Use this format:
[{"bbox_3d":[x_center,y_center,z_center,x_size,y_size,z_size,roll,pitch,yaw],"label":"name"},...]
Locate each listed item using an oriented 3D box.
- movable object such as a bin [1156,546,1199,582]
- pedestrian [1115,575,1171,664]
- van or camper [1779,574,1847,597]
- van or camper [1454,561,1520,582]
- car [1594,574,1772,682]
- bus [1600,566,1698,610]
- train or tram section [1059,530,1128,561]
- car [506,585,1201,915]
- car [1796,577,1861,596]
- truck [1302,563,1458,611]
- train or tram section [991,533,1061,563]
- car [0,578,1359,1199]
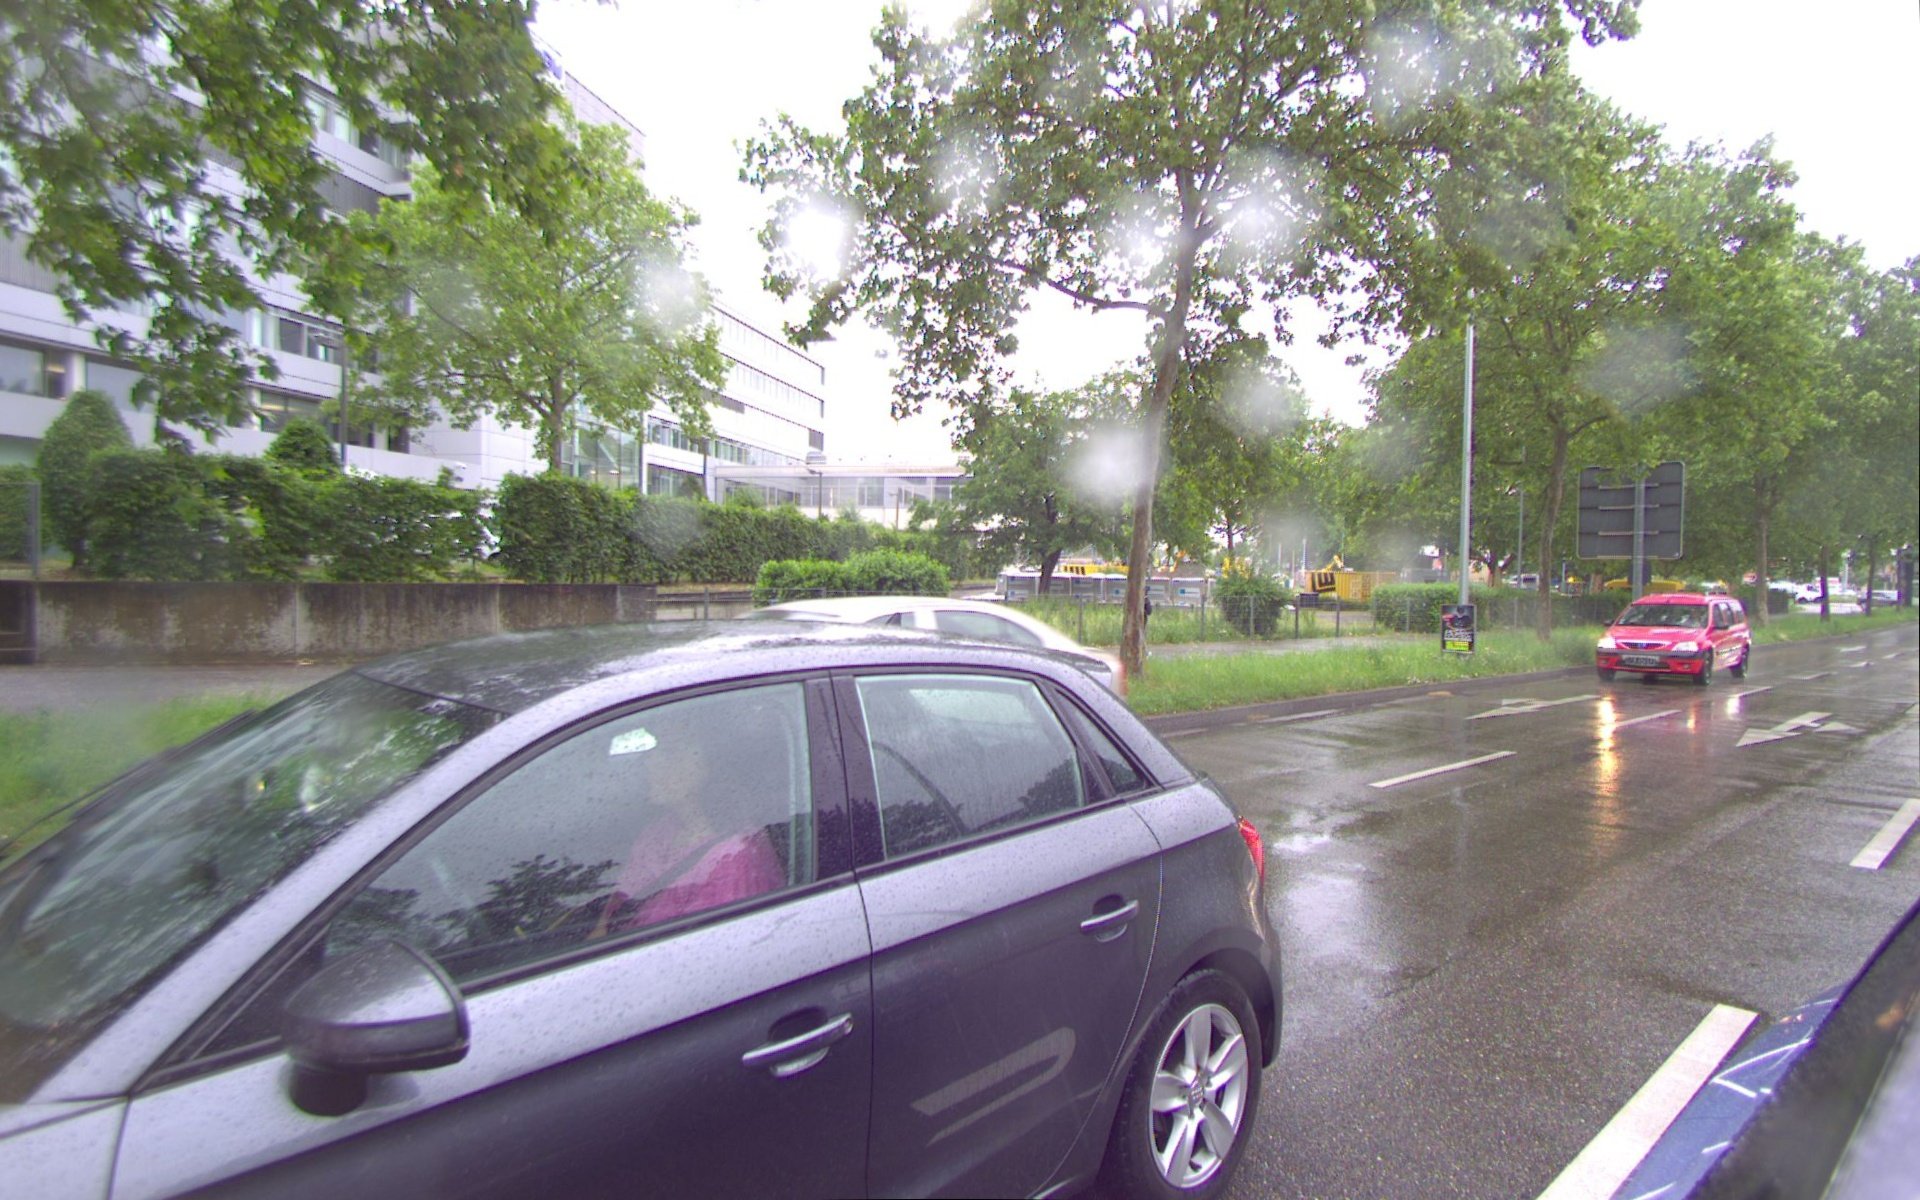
[{"bbox_3d":[22.405,-3.715,104.410,3.253,3.670,3.618,0,2,-6],"label":"movable object such as a bin"},{"bbox_3d":[3.806,0.380,21.032,0.664,1.784,1.059,1,1,43],"label":"pedestrian"},{"bbox_3d":[86.788,-1.488,103.023,4.830,2.114,1.863,2,2,11],"label":"van or camper"},{"bbox_3d":[84.532,-4.517,162.516,8.846,3.196,2.976,0,2,14],"label":"van or camper"},{"bbox_3d":[13.713,0.430,19.094,4.478,1.791,1.699,-1,2,-41],"label":"car"},{"bbox_3d":[43.686,-0.807,64.230,1.964,2.680,4.803,0,1,-39],"label":"bus"},{"bbox_3d":[16.395,-6.616,123.748,8.238,3.563,2.393,-1,1,11],"label":"train or tram section"},{"bbox_3d":[-0.453,0.648,6.656,4.310,1.448,1.806,-1,2,-41],"label":"car"},{"bbox_3d":[85.674,-1.312,99.887,4.391,1.693,1.863,2,2,11],"label":"car"},{"bbox_3d":[28.313,-0.910,68.750,9.359,3.069,3.070,0,2,14],"label":"truck"},{"bbox_3d":[8.223,-6.443,125.405,8.396,3.563,2.393,-1,1,11],"label":"train or tram section"},{"bbox_3d":[-0.997,0.696,2.224,3.932,1.470,1.996,-1,1,-43],"label":"car"}]
